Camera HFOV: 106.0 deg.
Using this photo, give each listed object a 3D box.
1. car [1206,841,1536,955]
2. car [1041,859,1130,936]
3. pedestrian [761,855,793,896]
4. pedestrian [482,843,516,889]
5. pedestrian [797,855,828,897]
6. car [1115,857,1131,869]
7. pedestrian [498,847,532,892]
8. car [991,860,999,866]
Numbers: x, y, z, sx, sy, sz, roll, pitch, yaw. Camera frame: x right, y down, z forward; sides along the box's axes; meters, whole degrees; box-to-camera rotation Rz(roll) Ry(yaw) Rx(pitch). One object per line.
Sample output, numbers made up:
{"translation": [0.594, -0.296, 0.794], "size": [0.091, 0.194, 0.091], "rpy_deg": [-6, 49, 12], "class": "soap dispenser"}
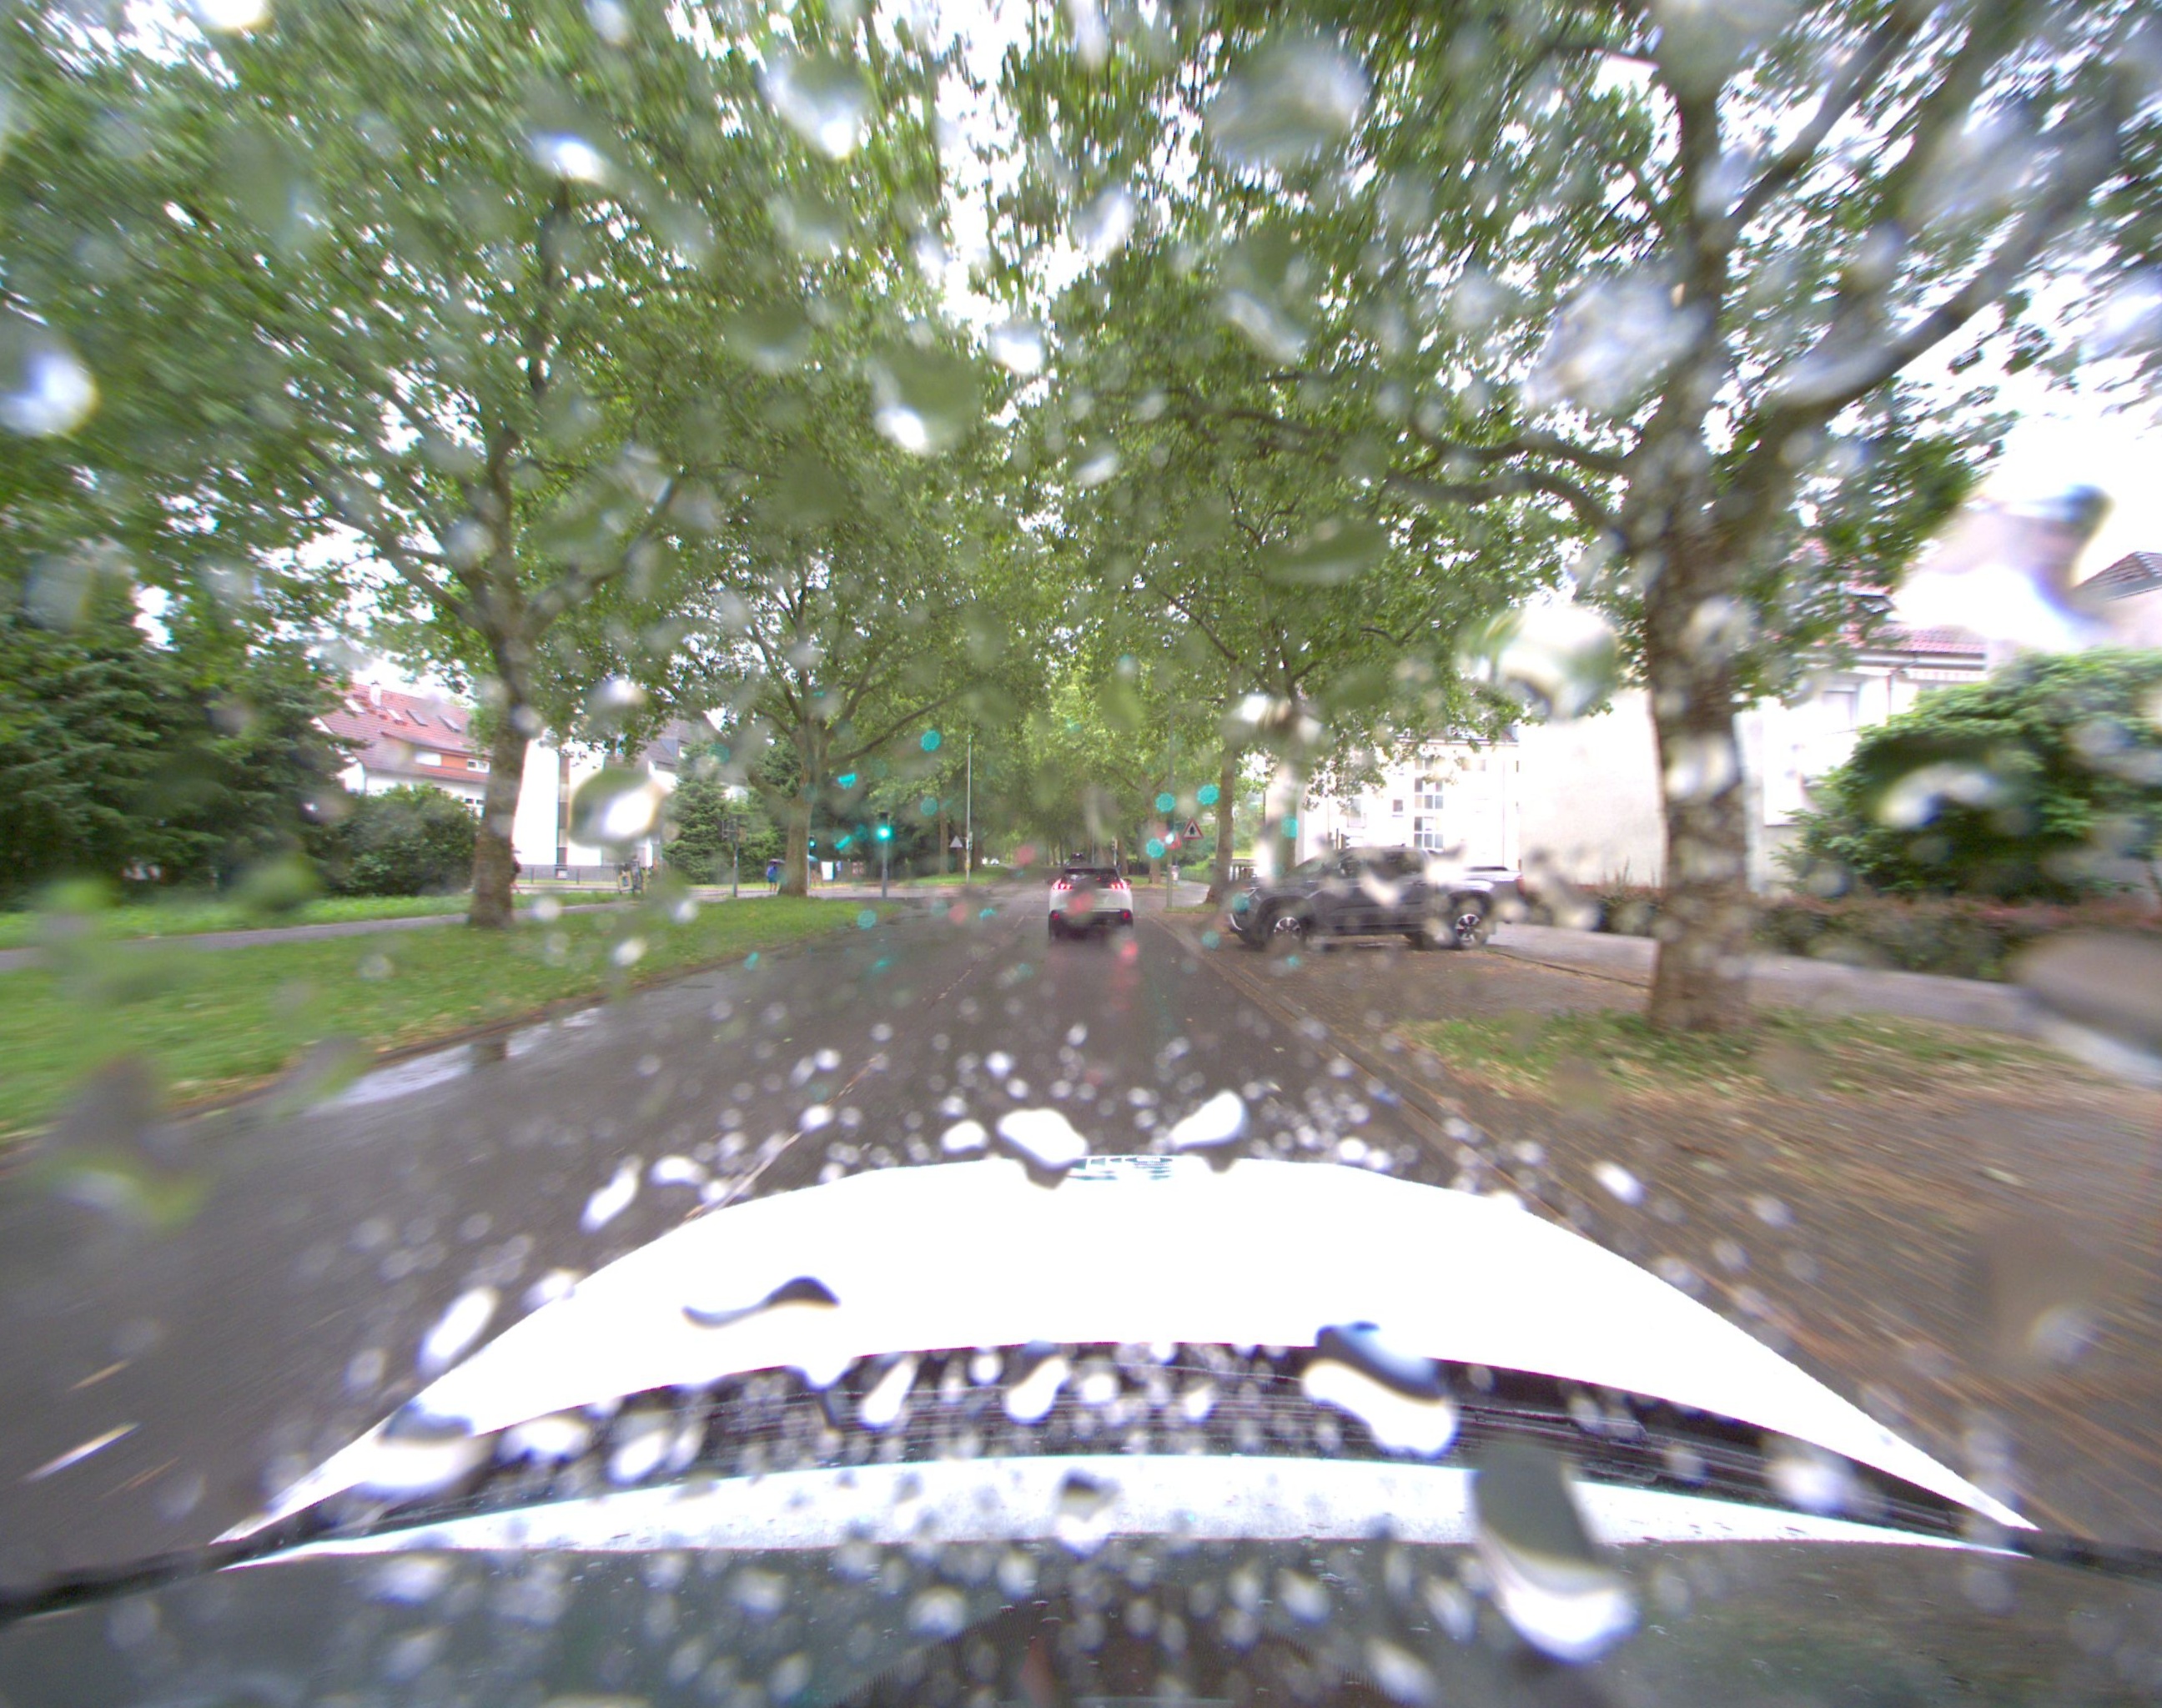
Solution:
{"translation": [5.094, 0.731, 14.704], "size": [5.330, 1.807, 1.841], "rpy_deg": [-1, -1, -6], "class": "car"}
{"translation": [0.151, 0.920, 18.291], "size": [1.774, 1.537, 4.058], "rpy_deg": [0, -1, 1], "class": "car"}
{"translation": [-13.146, 0.921, 35.284], "size": [1.029, 1.765, 0.879], "rpy_deg": [0, -1, 1], "class": "pedestrian"}
{"translation": [-22.280, 0.472, 31.184], "size": [0.818, 1.745, 0.639], "rpy_deg": [1, -1, -2], "class": "pedestrian"}
{"translation": [-11.686, 0.949, 35.454], "size": [1.029, 1.765, 0.838], "rpy_deg": [0, -1, 1], "class": "pedestrian"}
{"translation": [5.694, 1.200, 110.494], "size": [1.901, 1.510, 3.928], "rpy_deg": [0, -1, -2], "class": "car"}
{"translation": [-22.299, 0.618, 32.106], "size": [0.856, 1.745, 0.639], "rpy_deg": [1, -1, -2], "class": "pedestrian"}
{"translation": [-22.815, 2.459, 216.285], "size": [1.869, 1.677, 3.705], "rpy_deg": [0, -1, -2], "class": "car"}
